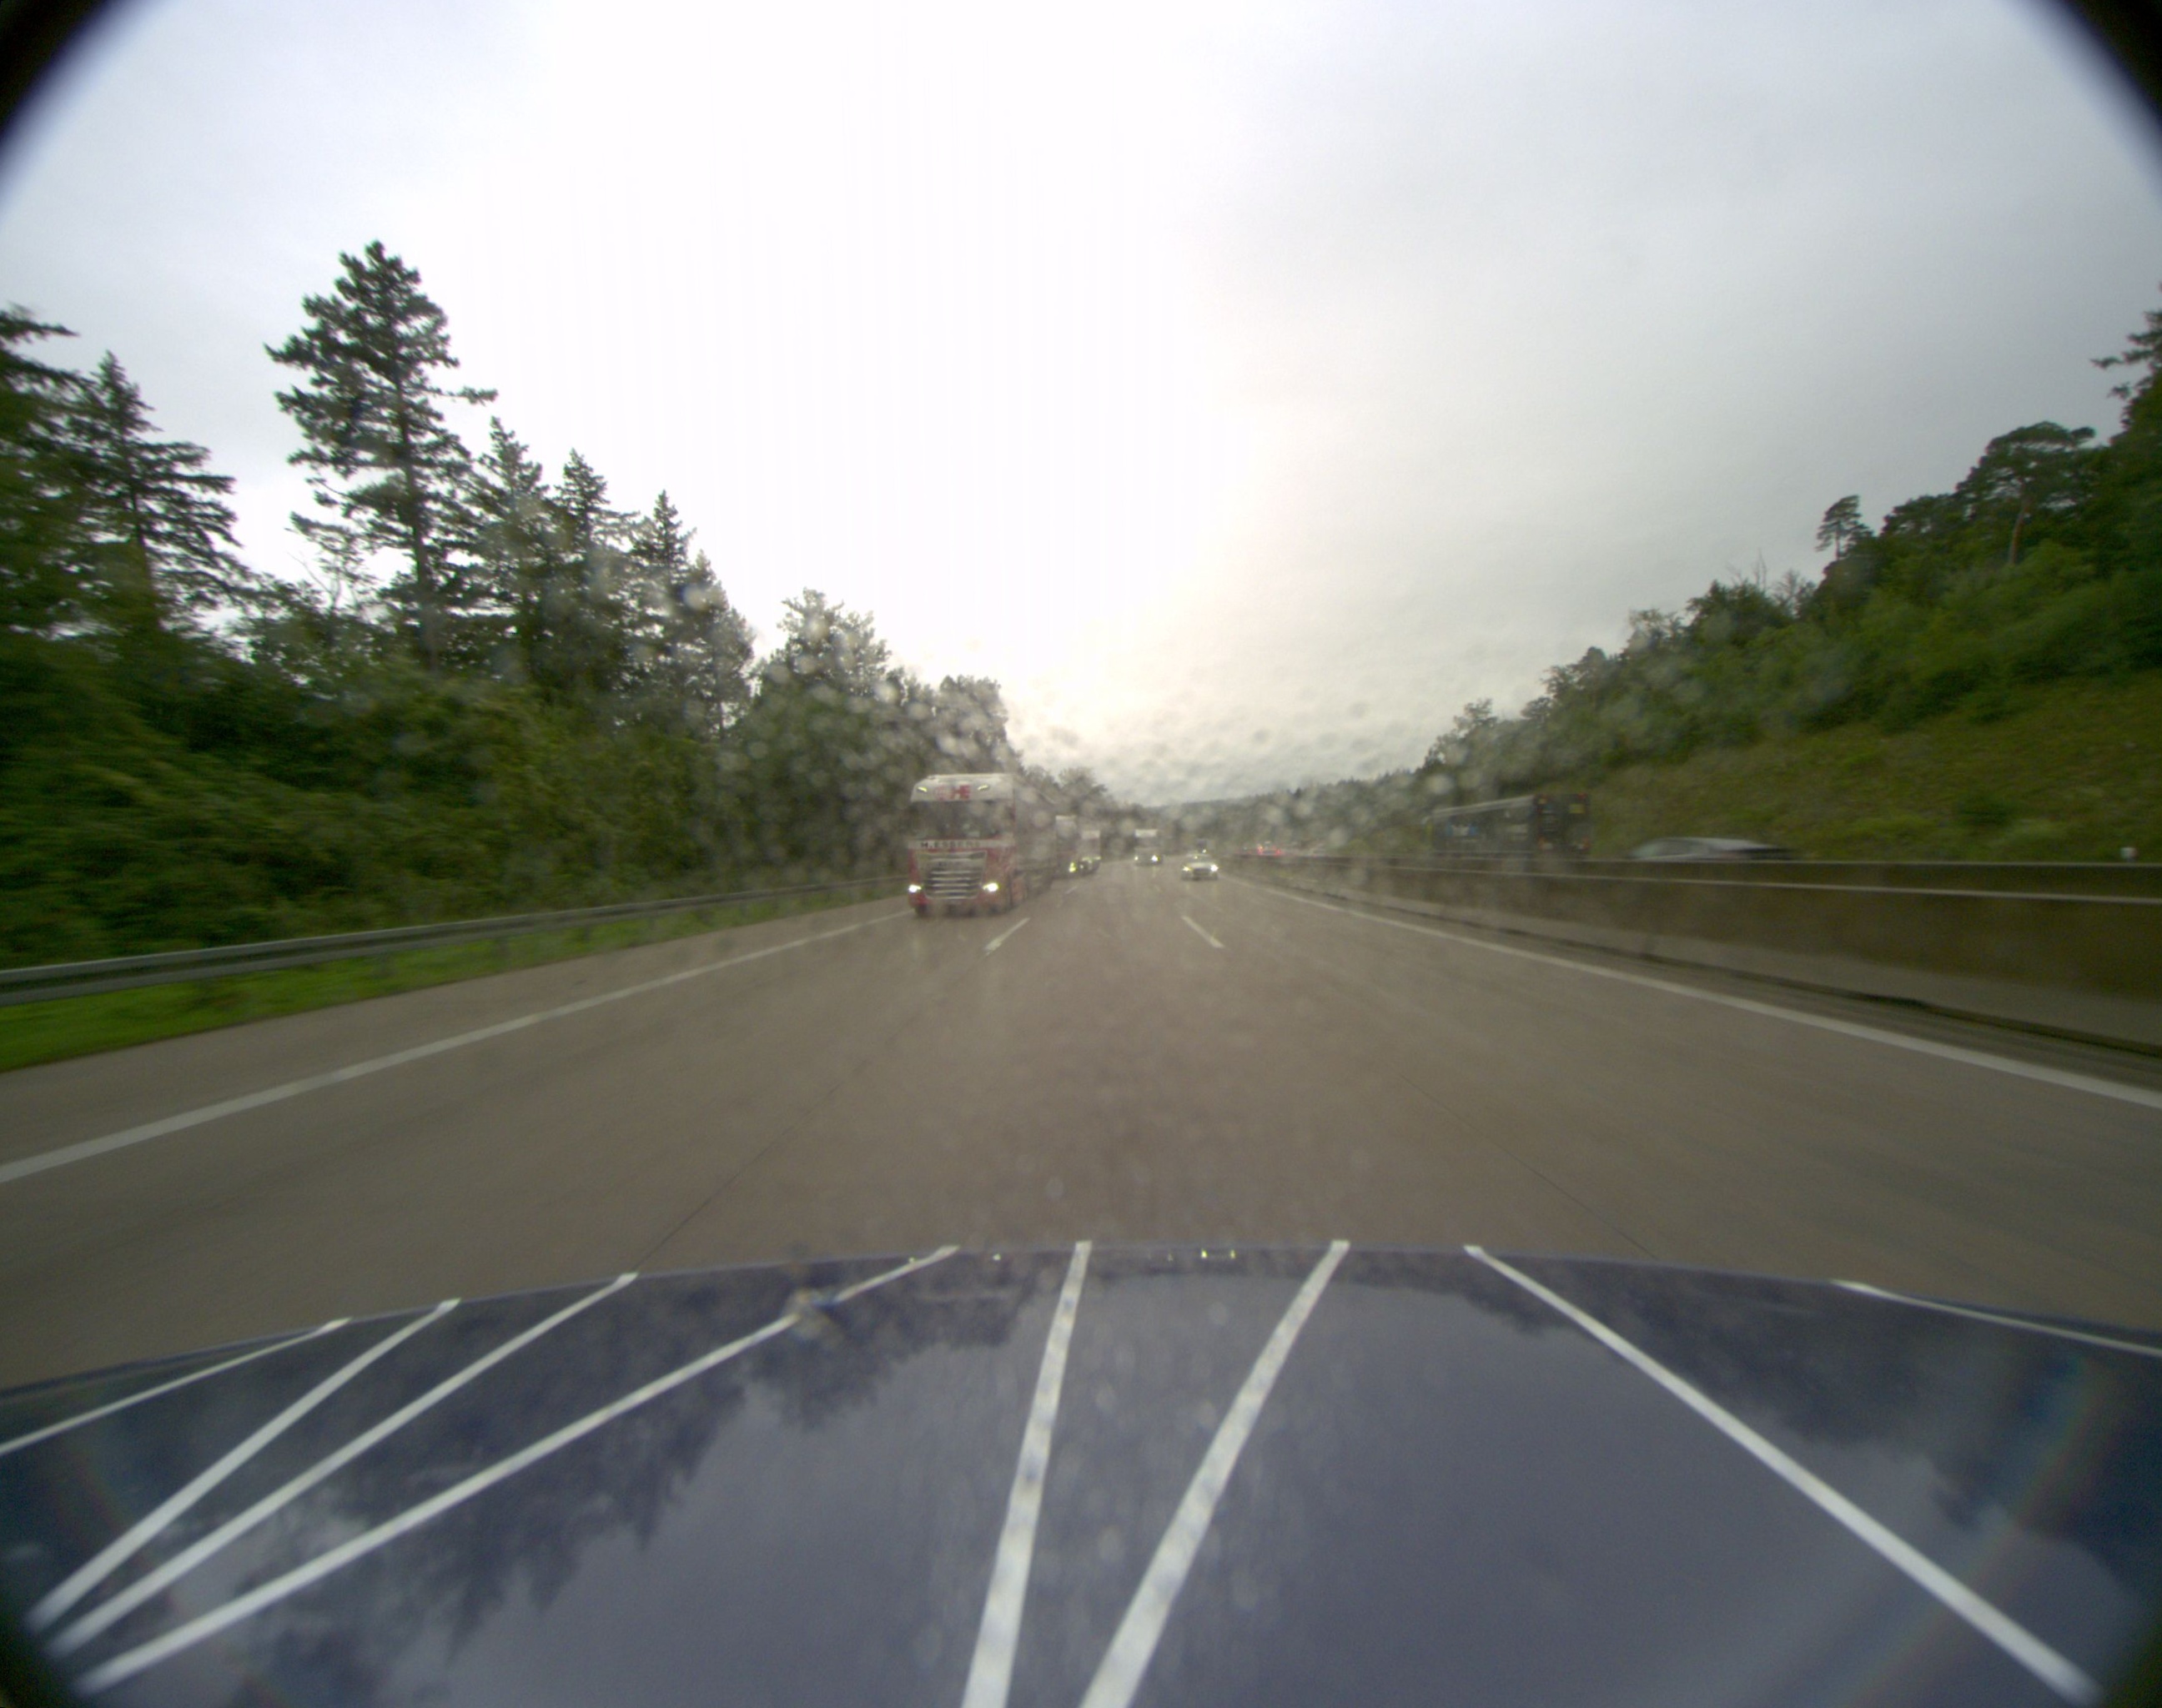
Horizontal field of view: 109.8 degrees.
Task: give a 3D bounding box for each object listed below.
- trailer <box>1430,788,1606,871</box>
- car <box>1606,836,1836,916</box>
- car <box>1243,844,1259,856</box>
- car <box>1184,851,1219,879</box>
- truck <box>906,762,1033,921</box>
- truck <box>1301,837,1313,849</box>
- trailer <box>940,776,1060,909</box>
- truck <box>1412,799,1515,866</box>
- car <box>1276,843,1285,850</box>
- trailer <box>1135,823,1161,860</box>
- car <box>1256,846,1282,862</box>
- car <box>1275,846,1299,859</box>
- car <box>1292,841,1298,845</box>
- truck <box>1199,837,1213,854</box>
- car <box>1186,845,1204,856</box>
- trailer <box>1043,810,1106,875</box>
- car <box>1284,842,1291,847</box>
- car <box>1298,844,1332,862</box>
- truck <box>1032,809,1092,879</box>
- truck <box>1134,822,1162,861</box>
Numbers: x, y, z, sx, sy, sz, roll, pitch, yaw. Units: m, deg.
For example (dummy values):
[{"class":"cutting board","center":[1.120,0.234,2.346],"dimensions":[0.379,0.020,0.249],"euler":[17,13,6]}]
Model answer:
[{"class":"trailer","center":[24.337,-1.253,43.680],"dimensions":[2.934,3.937,13.465],"euler":[-1,0,3]},{"class":"car","center":[13.649,0.411,16.565],"dimensions":[1.735,1.484,4.000],"euler":[-1,0,2]},{"class":"car","center":[24.774,-0.614,110.613],"dimensions":[1.997,1.758,4.540],"euler":[-1,1,9]},{"class":"car","center":[6.674,0.563,42.414],"dimensions":[1.715,1.399,4.938],"euler":[-2,0,7]},{"class":"truck","center":[-3.007,-0.314,22.221],"dimensions":[2.380,3.931,6.161],"euler":[-2,0,3]},{"class":"truck","center":[68.206,-3.334,229.298],"dimensions":[2.624,3.277,9.395],"euler":[-1,1,22]},{"class":"trailer","center":[-2.629,-0.345,29.144],"dimensions":[2.376,3.930,12.523],"euler":[-2,0,4]},{"class":"truck","center":[24.692,-1.291,49.601],"dimensions":[2.934,3.937,8.118],"euler":[-1,1,3]},{"class":"car","center":[45.406,-1.629,172.770],"dimensions":[1.744,1.552,4.287],"euler":[-1,1,11]},{"class":"trailer","center":[8.236,-1.414,92.949],"dimensions":[2.685,4.017,13.709],"euler":[-4,0,5]},{"class":"car","center":[19.644,-0.066,79.610],"dimensions":[1.997,1.575,4.774],"euler":[-1,1,6]},{"class":"car","center":[25.783,-0.173,95.155],"dimensions":[1.998,1.575,4.773],"euler":[-1,1,5]},{"class":"car","center":[72.601,-3.636,257.429],"dimensions":[1.807,1.338,4.772],"euler":[-2,1,18]},{"class":"truck","center":[32.391,-2.241,196.913],"dimensions":[2.734,4.127,8.630],"euler":[-2,0,14]},{"class":"car","center":[17.015,-0.502,113.485],"dimensions":[1.847,1.474,4.455],"euler":[-2,0,19]},{"class":"trailer","center":[-0.171,-0.811,55.975],"dimensions":[2.740,4.080,13.688],"euler":[-2,1,7]},{"class":"car","center":[60.776,-2.901,223.566],"dimensions":[1.655,1.338,4.090],"euler":[-2,1,16]},{"class":"car","center":[22.086,-0.123,71.914],"dimensions":[1.998,1.575,4.773],"euler":[-1,1,5]},{"class":"truck","center":[-1.120,-0.639,48.420],"dimensions":[2.804,4.080,5.970],"euler":[-2,1,7]},{"class":"truck","center":[7.575,-1.380,85.899],"dimensions":[2.727,4.017,5.754],"euler":[-4,0,5]}]
